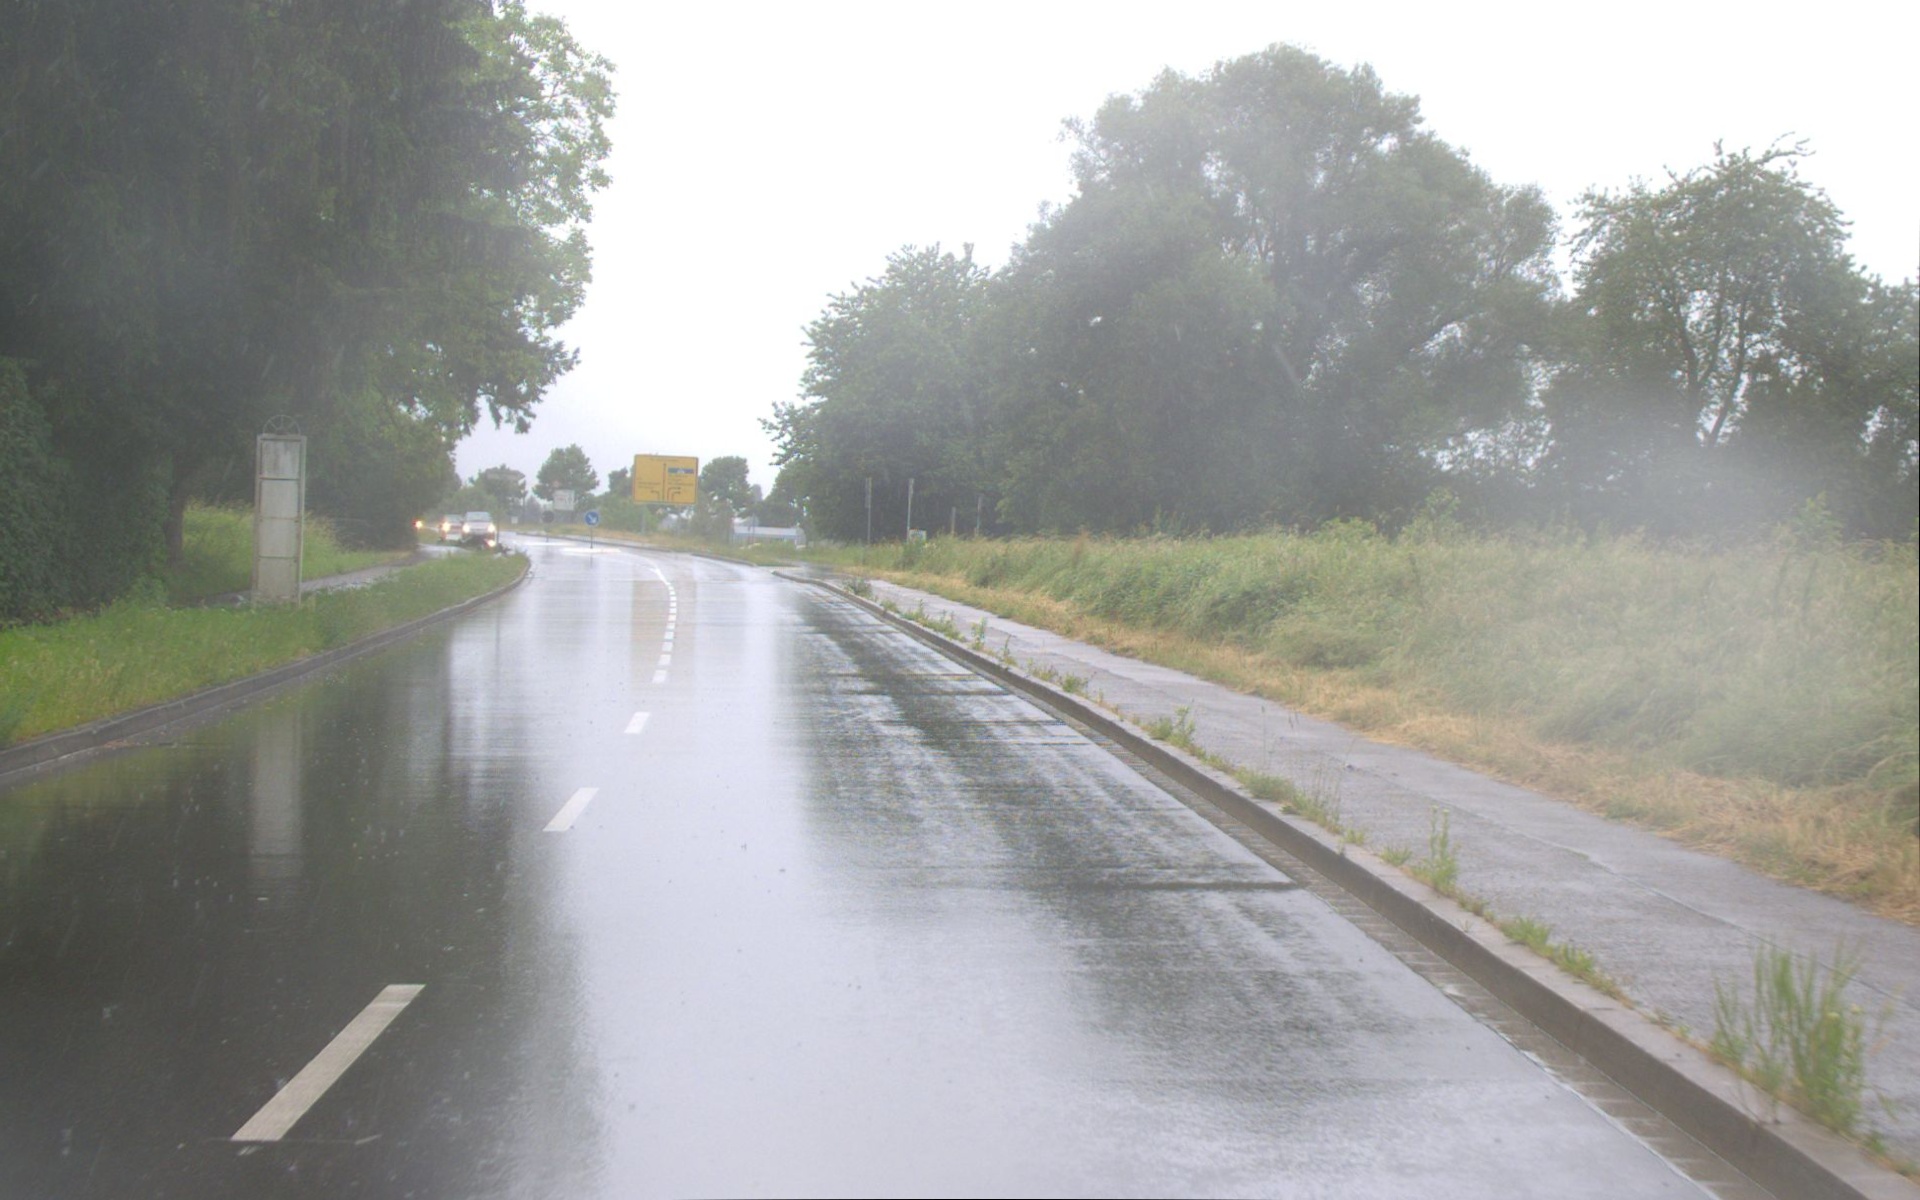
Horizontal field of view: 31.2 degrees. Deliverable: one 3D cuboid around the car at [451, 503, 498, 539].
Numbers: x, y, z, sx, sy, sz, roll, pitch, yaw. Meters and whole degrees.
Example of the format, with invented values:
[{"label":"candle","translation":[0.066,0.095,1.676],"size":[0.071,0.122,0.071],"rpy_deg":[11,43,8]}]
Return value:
[{"label":"car","translation":[-26.456,-4.300,187.301],"size":[1.760,1.546,4.003],"rpy_deg":[0,8,-20]}]
